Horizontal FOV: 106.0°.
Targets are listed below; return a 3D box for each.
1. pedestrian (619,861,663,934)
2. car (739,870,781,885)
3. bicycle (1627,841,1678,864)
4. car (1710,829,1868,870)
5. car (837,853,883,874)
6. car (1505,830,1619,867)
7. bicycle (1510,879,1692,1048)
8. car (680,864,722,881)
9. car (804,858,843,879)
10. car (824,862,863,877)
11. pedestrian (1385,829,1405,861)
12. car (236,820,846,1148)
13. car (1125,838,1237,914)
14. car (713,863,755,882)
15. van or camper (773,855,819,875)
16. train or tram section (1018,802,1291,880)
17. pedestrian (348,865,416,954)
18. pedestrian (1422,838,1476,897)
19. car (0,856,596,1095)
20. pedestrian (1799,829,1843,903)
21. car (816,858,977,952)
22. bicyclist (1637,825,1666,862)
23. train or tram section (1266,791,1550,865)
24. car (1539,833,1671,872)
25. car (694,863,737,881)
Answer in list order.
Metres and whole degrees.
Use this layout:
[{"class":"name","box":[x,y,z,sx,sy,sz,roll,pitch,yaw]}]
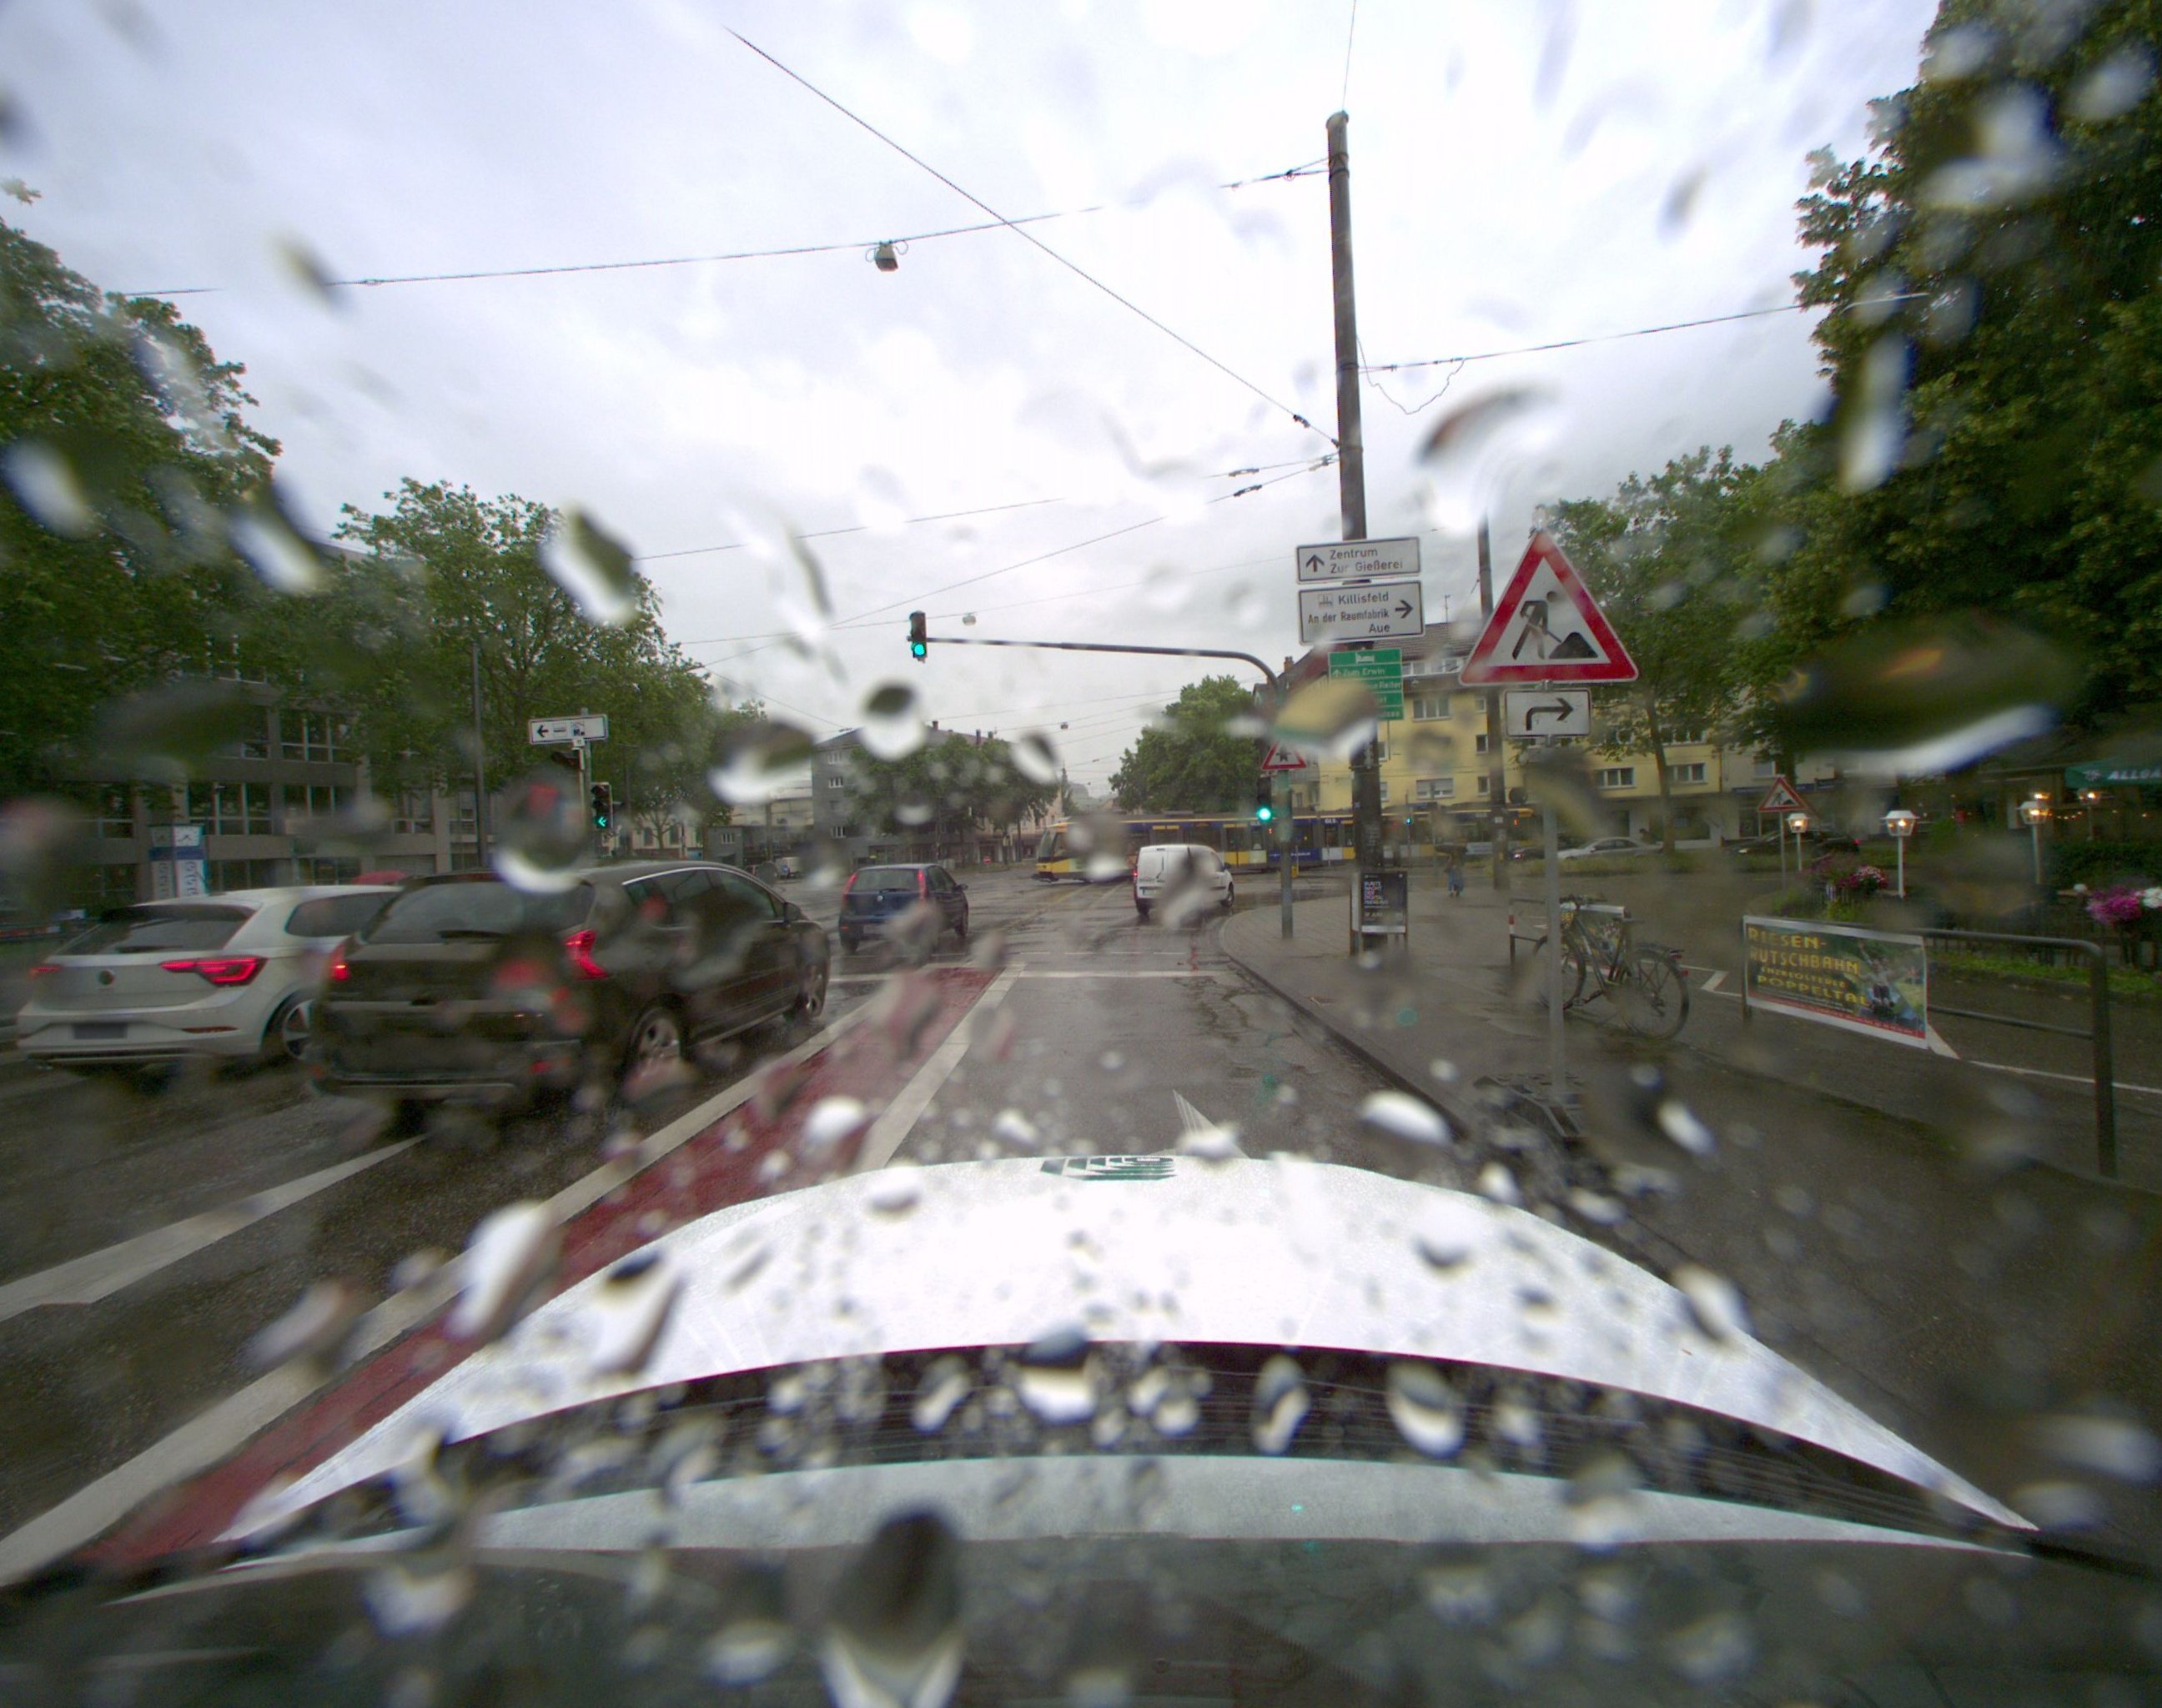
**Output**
[{"class":"pedestrian","box":[-10.176,0.988,18.844,0.739,1.610,0.710,-3,1,-37]},{"class":"car","box":[-35.658,2.569,90.587,1.975,1.614,4.023,-2,-2,27]},{"class":"bicycle","box":[26.667,-0.069,38.018,1.798,1.031,0.722,-1,1,12]},{"class":"car","box":[29.452,-0.208,34.044,4.590,1.485,1.870,-2,1,15]},{"class":"car","box":[-23.249,1.012,85.845,2.041,2.013,4.426,-1,1,32]},{"class":"car","box":[22.646,-0.266,38.497,4.243,1.501,1.885,-2,1,10]},{"class":"bicycle","box":[4.349,0.845,6.969,0.420,1.168,1.793,0,1,0]},{"class":"car","box":[-44.940,2.131,96.438,1.974,1.763,4.026,-2,1,32]},{"class":"car","box":[-27.867,1.569,88.250,1.977,2.013,4.019,-2,1,18]},{"class":"car","box":[-25.538,1.653,87.695,1.933,1.625,4.020,-1,-1,20]},{"class":"pedestrian","box":[16.718,-0.476,43.357,0.804,1.677,1.023,-2,0,28]},{"class":"car","box":[-3.466,0.657,6.400,1.794,1.709,4.194,-1,1,3]},{"class":"car","box":[2.817,0.517,22.062,1.887,1.797,4.137,-1,1,23]},{"class":"car","box":[-39.508,2.092,92.700,1.974,2.014,4.025,-1,-1,31]},{"class":"van or camper","box":[-30.903,1.209,88.426,1.975,2.075,4.682,-2,0,25]},{"class":"train or tram section","box":[4.128,-0.820,42.647,14.598,3.558,3.091,-2,1,-24]},{"class":"pedestrian","box":[-14.303,1.110,16.693,0.954,1.711,0.820,-3,1,-37]},{"class":"pedestrian","box":[10.645,0.372,23.555,1.003,1.666,1.092,-2,1,-44]},{"class":"car","box":[-6.863,0.855,7.722,1.799,1.536,4.194,-2,1,3]},{"class":"pedestrian","box":[16.927,0.261,18.636,0.546,1.644,0.389,-4,0,3]},{"class":"car","box":[-3.191,0.849,14.875,1.875,1.459,3.834,-1,-1,3]},{"class":"bicyclist","box":[26.627,-0.502,38.017,0.881,1.716,0.717,-1,1,12]},{"class":"train or tram section","box":[18.024,-1.426,45.594,14.575,3.558,3.117,-2,1,1]},{"class":"car","box":[22.598,-0.071,35.301,4.452,1.489,1.747,-2,1,15]},{"class":"car","box":[-42.109,2.078,93.838,1.974,1.928,4.026,-1,1,36]}]
